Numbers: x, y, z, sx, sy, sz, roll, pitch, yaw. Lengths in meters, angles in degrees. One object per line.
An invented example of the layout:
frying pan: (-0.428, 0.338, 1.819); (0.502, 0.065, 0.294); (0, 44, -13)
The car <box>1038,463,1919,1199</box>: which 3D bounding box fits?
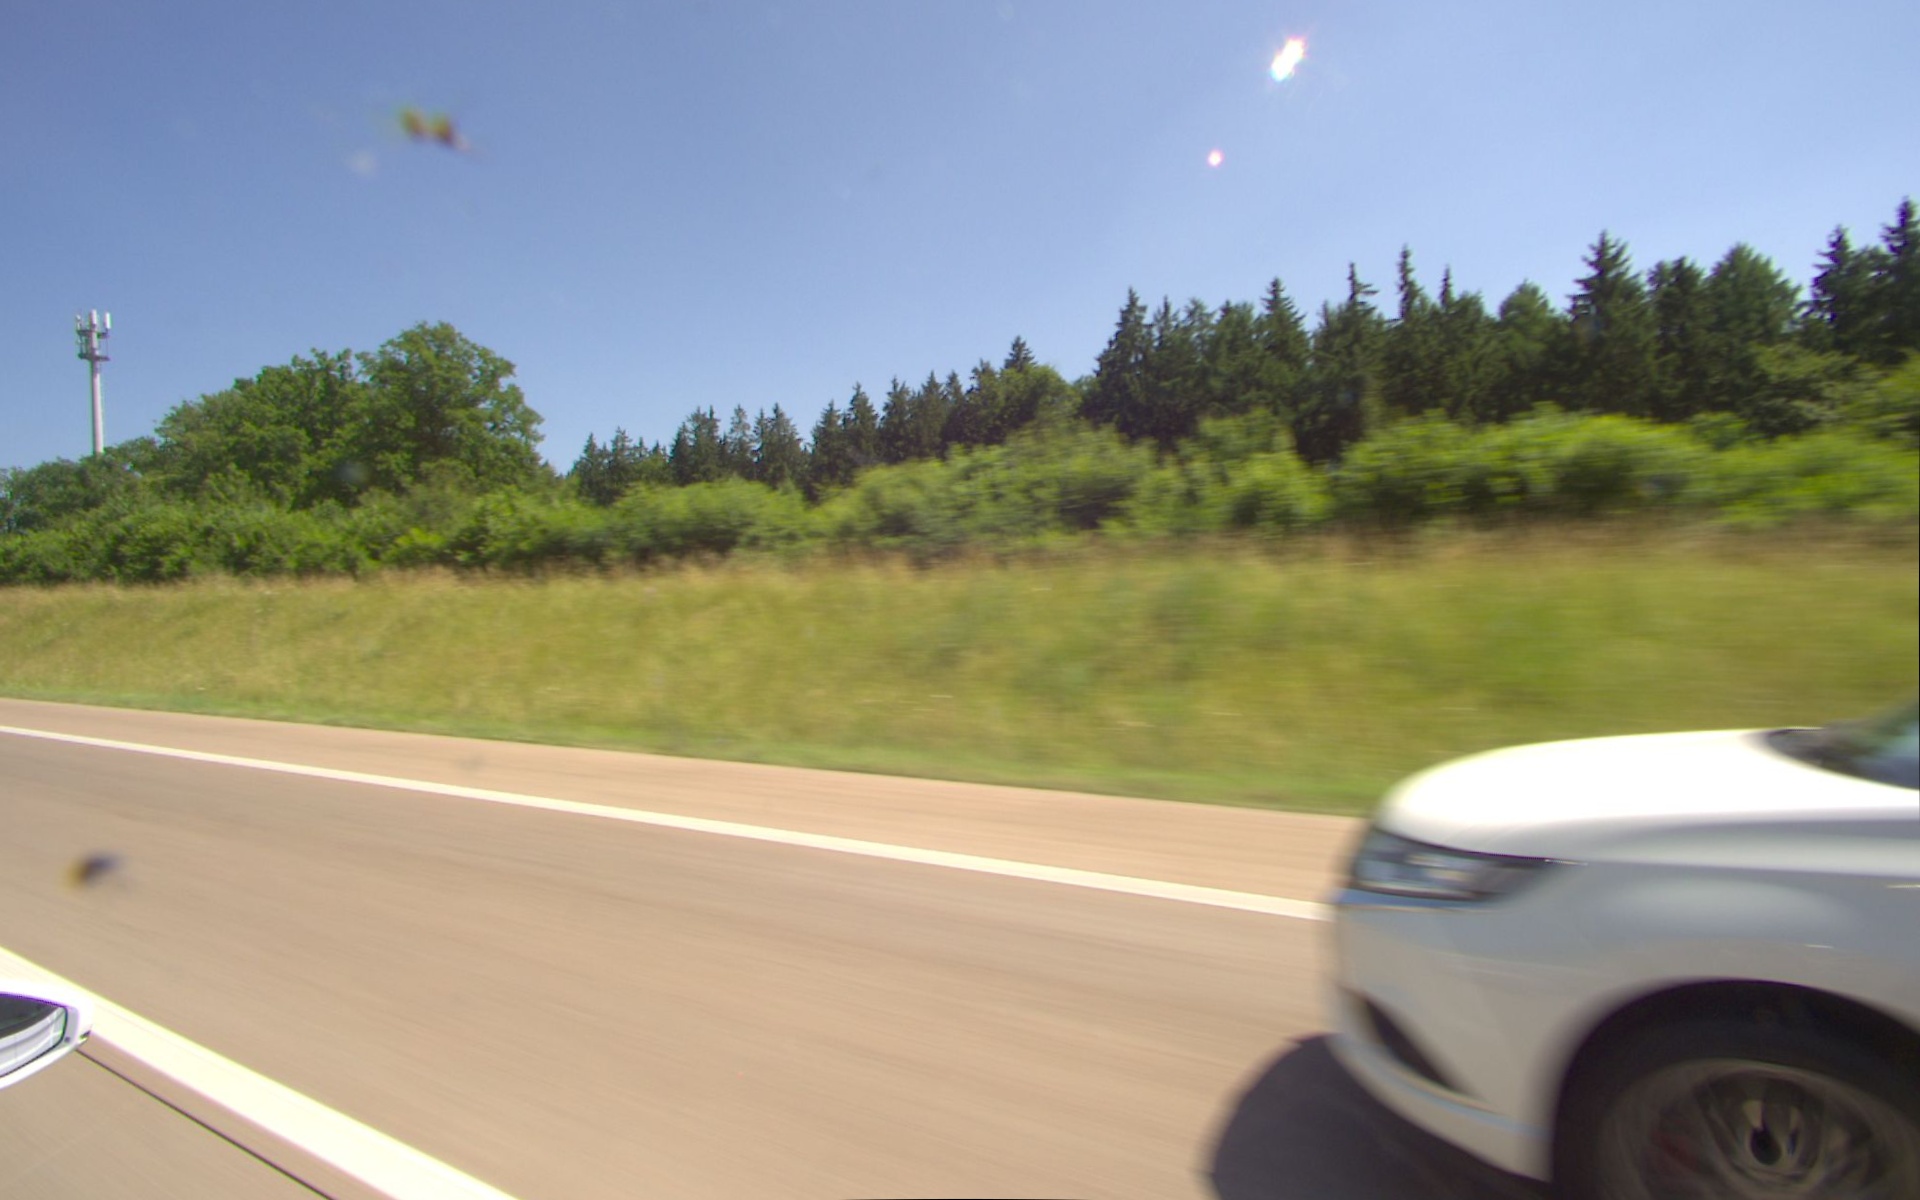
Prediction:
car: (2.867, 0.633, 2.183); (5.113, 1.750, 1.887); (-1, -1, 33)
